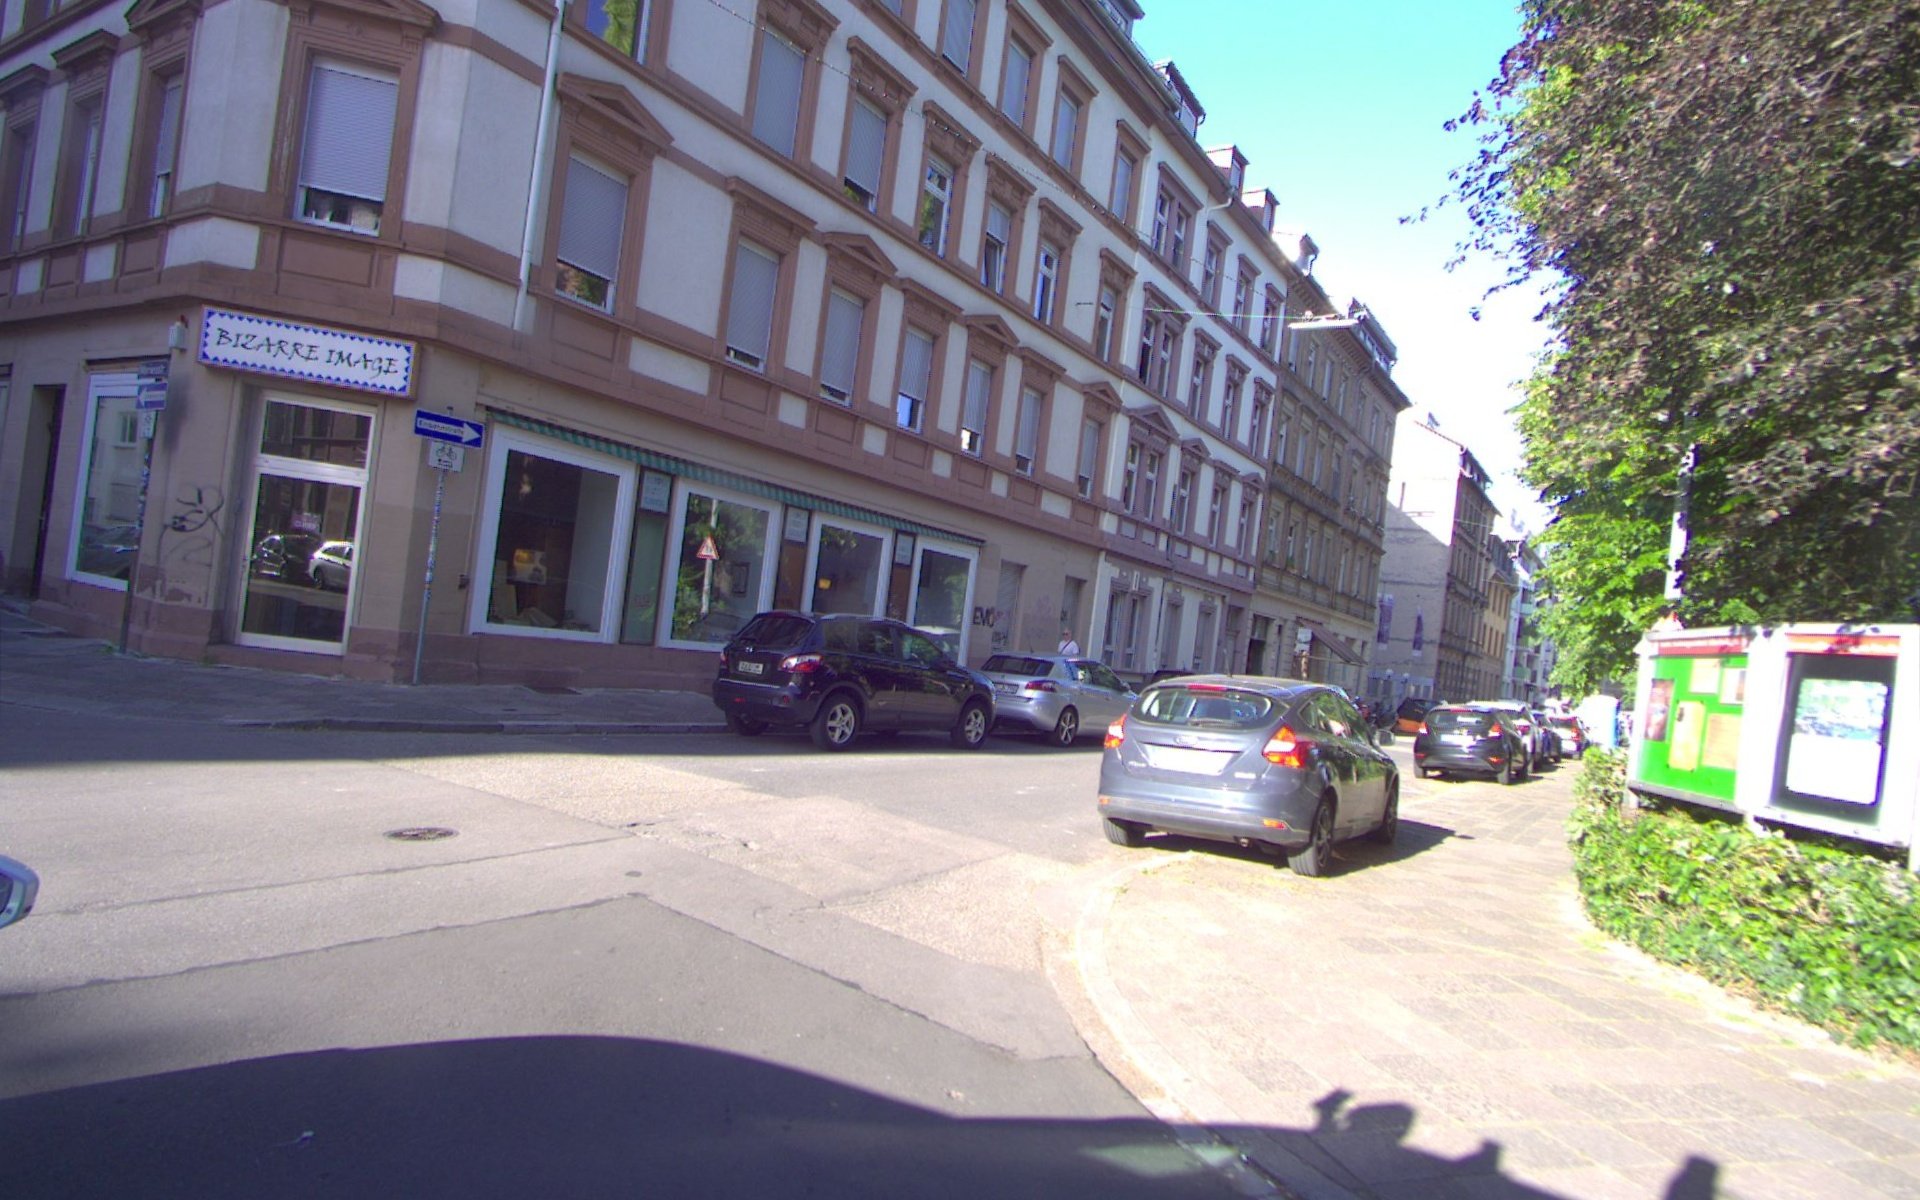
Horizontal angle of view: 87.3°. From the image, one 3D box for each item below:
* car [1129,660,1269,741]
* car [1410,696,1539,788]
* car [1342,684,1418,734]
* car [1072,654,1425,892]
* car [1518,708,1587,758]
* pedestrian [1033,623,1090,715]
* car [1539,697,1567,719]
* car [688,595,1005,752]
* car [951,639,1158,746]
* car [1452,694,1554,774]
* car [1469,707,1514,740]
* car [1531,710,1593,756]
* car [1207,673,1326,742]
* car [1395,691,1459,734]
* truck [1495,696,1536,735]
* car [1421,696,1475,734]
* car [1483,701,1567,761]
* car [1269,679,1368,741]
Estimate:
[{"bbox_3d":[5.320,2.246,22.104,1.609,1.489,3.532,4,-4,37],"label":"car"},{"bbox_3d":[10.286,2.795,19.998,1.609,1.489,3.532,4,-4,37],"label":"car"},{"bbox_3d":[15.706,4.091,37.551,1.609,1.570,3.882,4,-4,37],"label":"car"},{"bbox_3d":[2.749,1.398,8.884,1.770,1.455,3.924,4,-4,34],"label":"car"},{"bbox_3d":[20.859,4.682,35.336,1.609,1.489,3.532,4,-4,37],"label":"car"},{"bbox_3d":[2.304,1.574,22.829,0.787,1.943,0.716,9,0,31],"label":"pedestrian"},{"bbox_3d":[49.625,9.066,84.150,1.609,1.570,3.883,4,-4,36],"label":"car"},{"bbox_3d":[-1.296,0.991,12.979,1.736,1.626,3.920,4,-4,37],"label":"car"},{"bbox_3d":[1.715,1.616,17.042,1.609,1.489,3.856,4,-4,37],"label":"car"},{"bbox_3d":[13.452,3.300,24.822,1.609,1.667,3.532,4,-4,37],"label":"car"},{"bbox_3d":[29.791,6.933,56.340,1.609,1.570,3.883,4,-4,36],"label":"car"},{"bbox_3d":[23.029,5.082,38.434,1.609,1.489,3.532,4,-4,37],"label":"car"},{"bbox_3d":[7.796,2.745,25.395,1.609,1.489,3.690,4,-4,37],"label":"car"},{"bbox_3d":[19.556,4.728,42.091,1.609,1.570,3.883,4,-4,36],"label":"car"},{"bbox_3d":[35.758,7.477,64.734,1.609,2.240,4.354,4,-4,36],"label":"truck"},{"bbox_3d":[23.437,5.532,48.250,1.609,1.570,3.883,4,-4,36],"label":"car"},{"bbox_3d":[16.786,3.888,29.817,1.609,1.489,3.532,4,-4,37],"label":"car"},{"bbox_3d":[10.732,3.308,29.966,1.609,1.570,3.882,4,-4,37],"label":"car"}]
